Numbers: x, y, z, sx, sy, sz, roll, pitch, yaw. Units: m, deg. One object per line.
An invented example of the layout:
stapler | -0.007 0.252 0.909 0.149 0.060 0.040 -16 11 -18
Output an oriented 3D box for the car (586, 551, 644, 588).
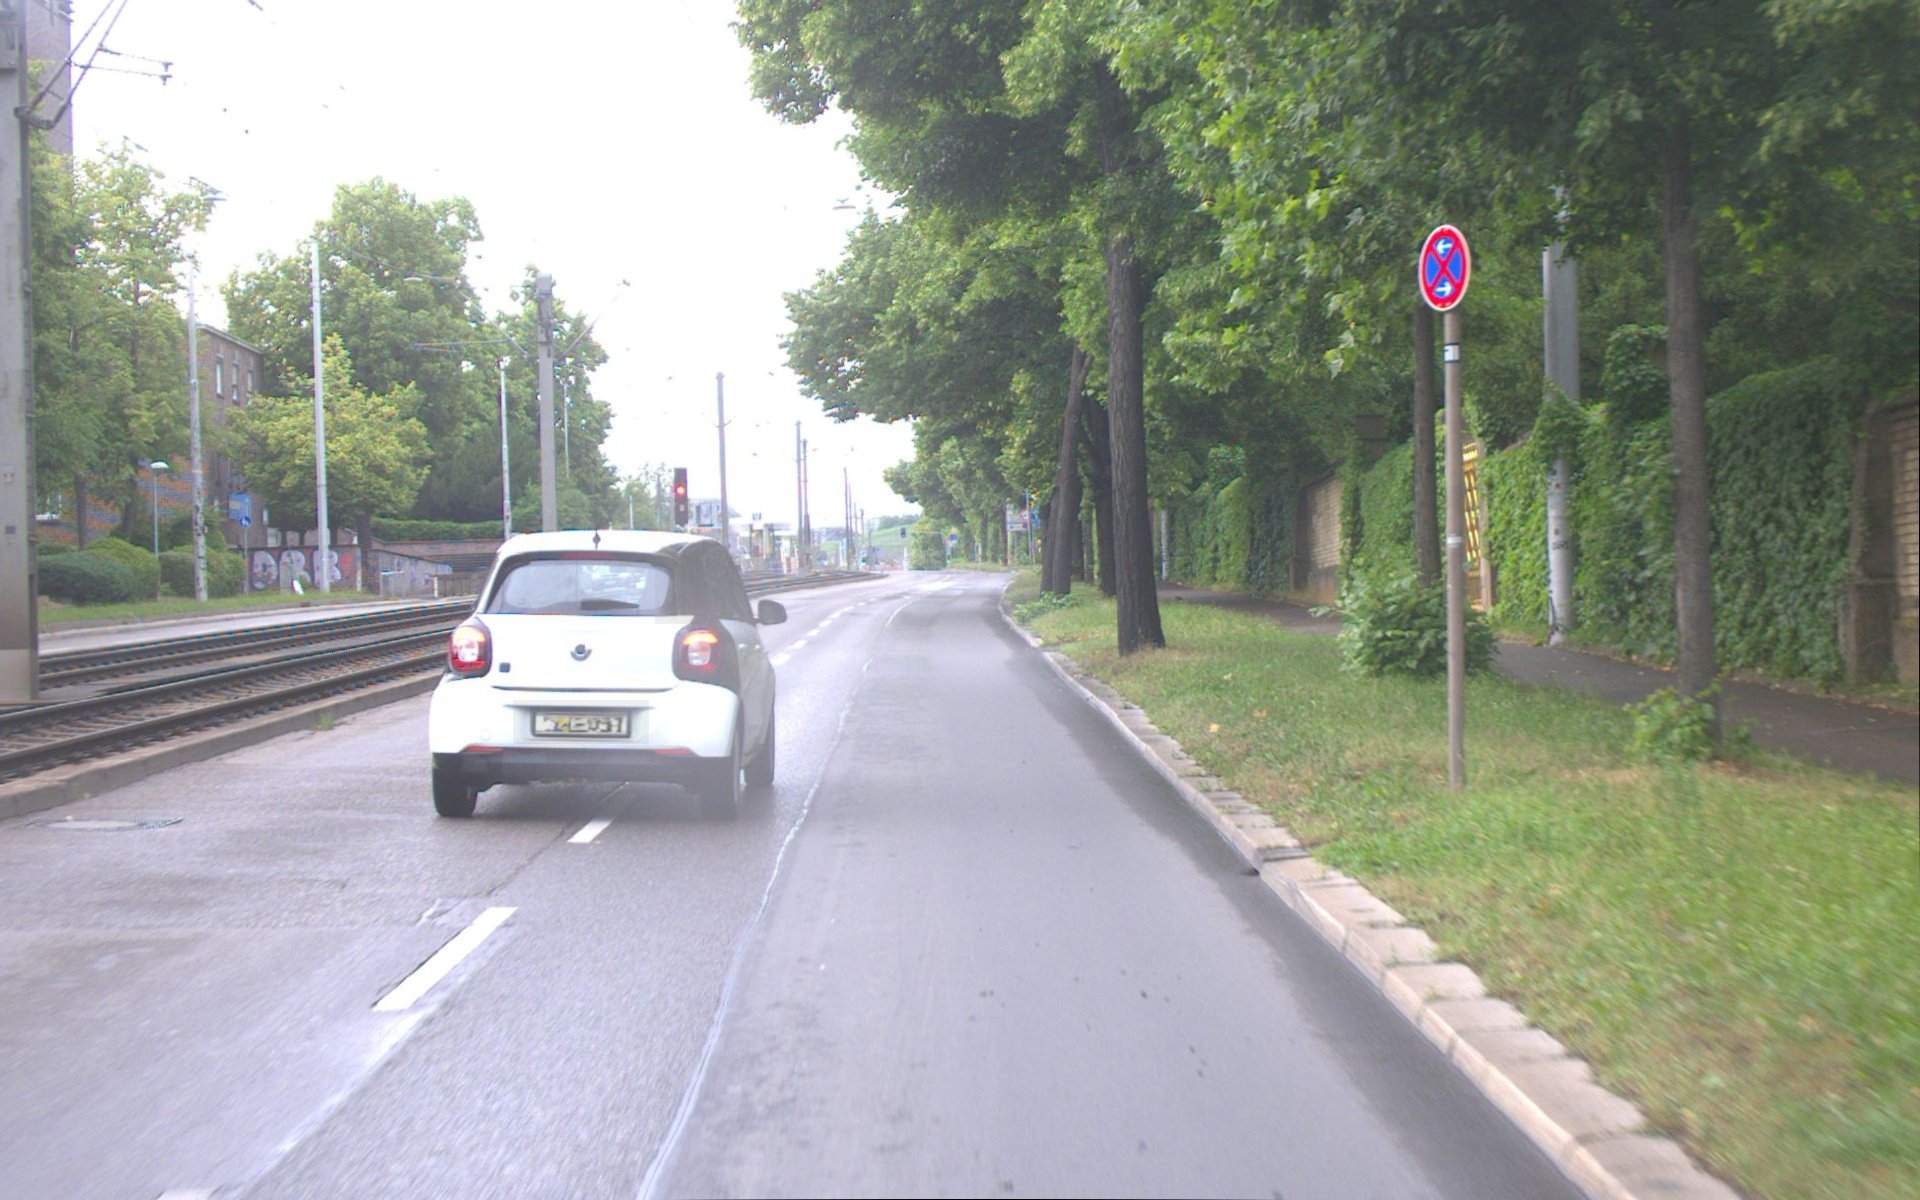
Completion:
car | -16.291 -1.457 162.583 2.013 1.650 4.616 -2 1 3

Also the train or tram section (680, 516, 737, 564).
train or tram section | -19.096 -4.550 260.369 2.831 3.593 9.273 0 1 -13

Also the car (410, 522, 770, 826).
car | -2.023 0.343 19.705 1.676 1.525 3.722 -2 1 -1

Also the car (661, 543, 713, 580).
car | -13.036 -1.858 164.317 1.835 1.650 4.239 -2 1 3
